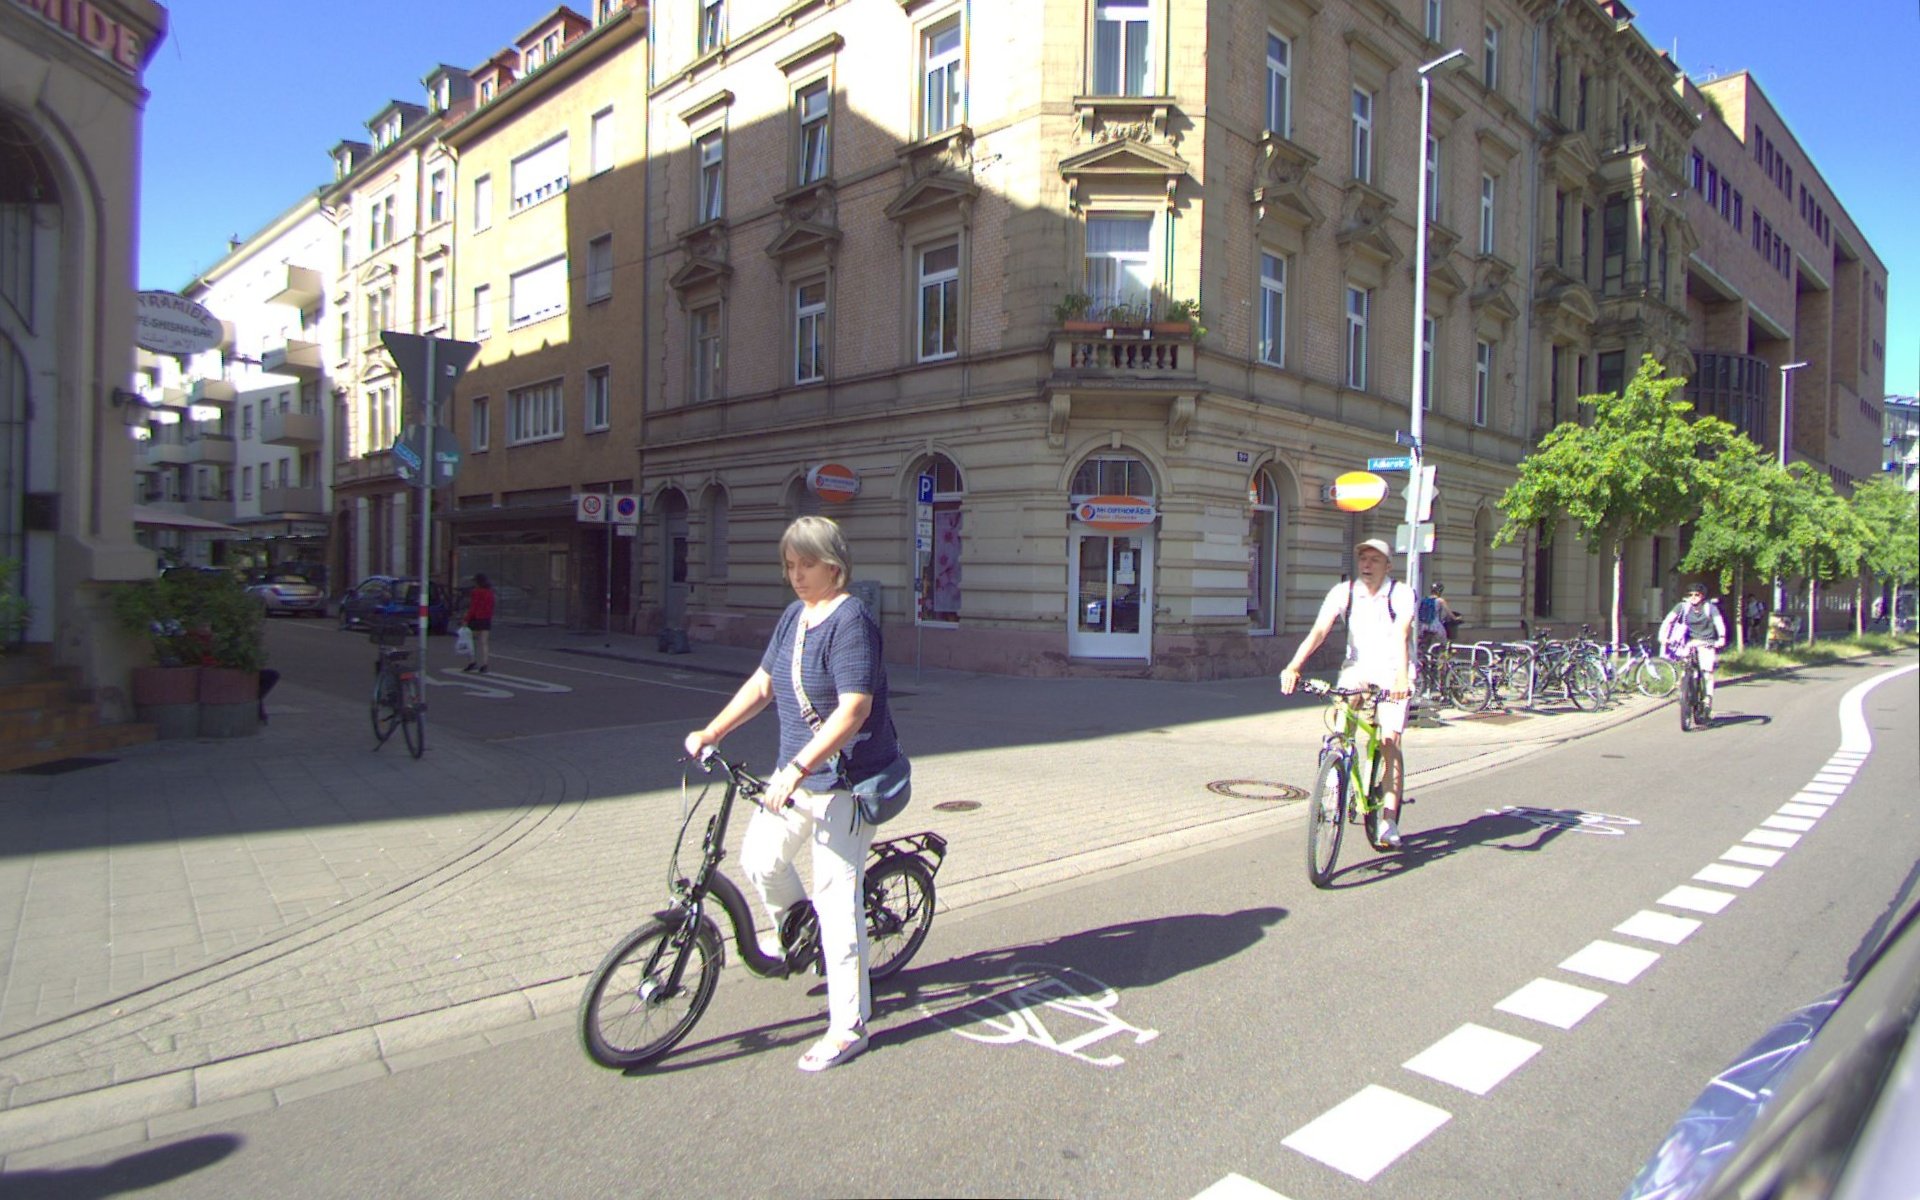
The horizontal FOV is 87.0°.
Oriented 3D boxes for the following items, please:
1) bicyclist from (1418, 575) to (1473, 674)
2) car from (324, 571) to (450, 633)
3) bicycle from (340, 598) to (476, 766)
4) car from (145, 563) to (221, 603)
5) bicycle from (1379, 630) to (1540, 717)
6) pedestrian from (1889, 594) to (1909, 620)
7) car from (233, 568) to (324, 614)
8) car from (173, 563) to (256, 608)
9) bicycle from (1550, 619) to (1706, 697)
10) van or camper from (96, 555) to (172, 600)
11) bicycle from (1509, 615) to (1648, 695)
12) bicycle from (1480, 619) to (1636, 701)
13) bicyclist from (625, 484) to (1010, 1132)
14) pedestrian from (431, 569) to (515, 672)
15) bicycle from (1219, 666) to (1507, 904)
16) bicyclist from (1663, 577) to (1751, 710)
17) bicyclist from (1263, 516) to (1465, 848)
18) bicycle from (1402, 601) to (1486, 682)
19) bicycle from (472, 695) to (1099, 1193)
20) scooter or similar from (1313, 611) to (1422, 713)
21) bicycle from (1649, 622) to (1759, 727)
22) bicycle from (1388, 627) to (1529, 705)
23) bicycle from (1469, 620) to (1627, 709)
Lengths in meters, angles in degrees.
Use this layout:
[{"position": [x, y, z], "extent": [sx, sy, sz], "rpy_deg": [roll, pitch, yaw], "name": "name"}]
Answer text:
[{"position": [8.268, 0.401, 17.230], "extent": [0.781, 1.637, 0.578], "rpy_deg": [0, 1, -43], "name": "bicyclist"}, {"position": [-14.665, 0.016, 25.856], "extent": [3.686, 1.428, 1.594], "rpy_deg": [2, 1, 39], "name": "car"}, {"position": [-4.977, 0.659, 9.037], "extent": [0.801, 1.247, 2.221], "rpy_deg": [4, -1, -34], "name": "bicycle"}, {"position": [-30.013, -0.668, 39.062], "extent": [3.425, 1.424, 1.605], "rpy_deg": [3, 0, 41], "name": "car"}, {"position": [6.681, 0.946, 13.649], "extent": [0.580, 0.922, 1.911], "rpy_deg": [0, 3, -32], "name": "bicycle"}, {"position": [74.360, 0.522, 80.125], "extent": [0.747, 2.039, 0.884], "rpy_deg": [1, 1, -19], "name": "pedestrian"}, {"position": [-21.158, -0.297, 31.396], "extent": [3.376, 1.338, 1.604], "rpy_deg": [1, 1, 42], "name": "car"}, {"position": [-26.256, -0.525, 35.620], "extent": [3.425, 1.424, 1.605], "rpy_deg": [3, 0, 41], "name": "car"}, {"position": [11.503, 0.964, 17.494], "extent": [0.833, 1.054, 2.062], "rpy_deg": [0, 4, -41], "name": "bicycle"}, {"position": [-37.861, -1.064, 46.352], "extent": [4.527, 1.867, 1.857], "rpy_deg": [3, 0, 41], "name": "van or camper"}, {"position": [10.265, 0.880, 16.824], "extent": [1.115, 1.074, 1.677], "rpy_deg": [0, 5, -42], "name": "bicycle"}, {"position": [9.450, 0.906, 16.044], "extent": [1.013, 1.043, 1.901], "rpy_deg": [0, 4, -43], "name": "bicycle"}, {"position": [-0.475, 0.560, 3.385], "extent": [0.971, 1.749, 0.853], "rpy_deg": [1, -1, -41], "name": "bicyclist"}, {"position": [-7.759, 0.313, 16.156], "extent": [0.824, 1.594, 0.901], "rpy_deg": [0, 0, 22], "name": "pedestrian"}, {"position": [2.342, 0.944, 5.753], "extent": [1.918, 1.019, 0.724], "rpy_deg": [0, 0, -41], "name": "bicycle"}, {"position": [9.548, 0.529, 12.931], "extent": [0.879, 1.625, 0.724], "rpy_deg": [1, -1, -41], "name": "bicyclist"}, {"position": [2.278, 0.412, 5.695], "extent": [0.960, 1.678, 0.699], "rpy_deg": [1, -1, -41], "name": "bicyclist"}, {"position": [8.259, 0.669, 17.238], "extent": [2.062, 1.268, 0.578], "rpy_deg": [-1, 2, -43], "name": "bicycle"}, {"position": [-0.483, 0.912, 3.377], "extent": [1.918, 1.019, 0.829], "rpy_deg": [0, 0, -41], "name": "bicycle"}, {"position": [5.240, 0.768, 13.048], "extent": [0.479, 1.213, 1.197], "rpy_deg": [1, 1, -45], "name": "scooter or similar"}, {"position": [9.471, 0.898, 12.859], "extent": [1.918, 1.209, 0.724], "rpy_deg": [0, -1, -41], "name": "bicycle"}, {"position": [6.985, 0.898, 14.253], "extent": [0.488, 0.937, 1.716], "rpy_deg": [0, 1, -40], "name": "bicycle"}, {"position": [8.559, 0.899, 14.798], "extent": [0.598, 1.061, 1.873], "rpy_deg": [0, 4, -45], "name": "bicycle"}]
